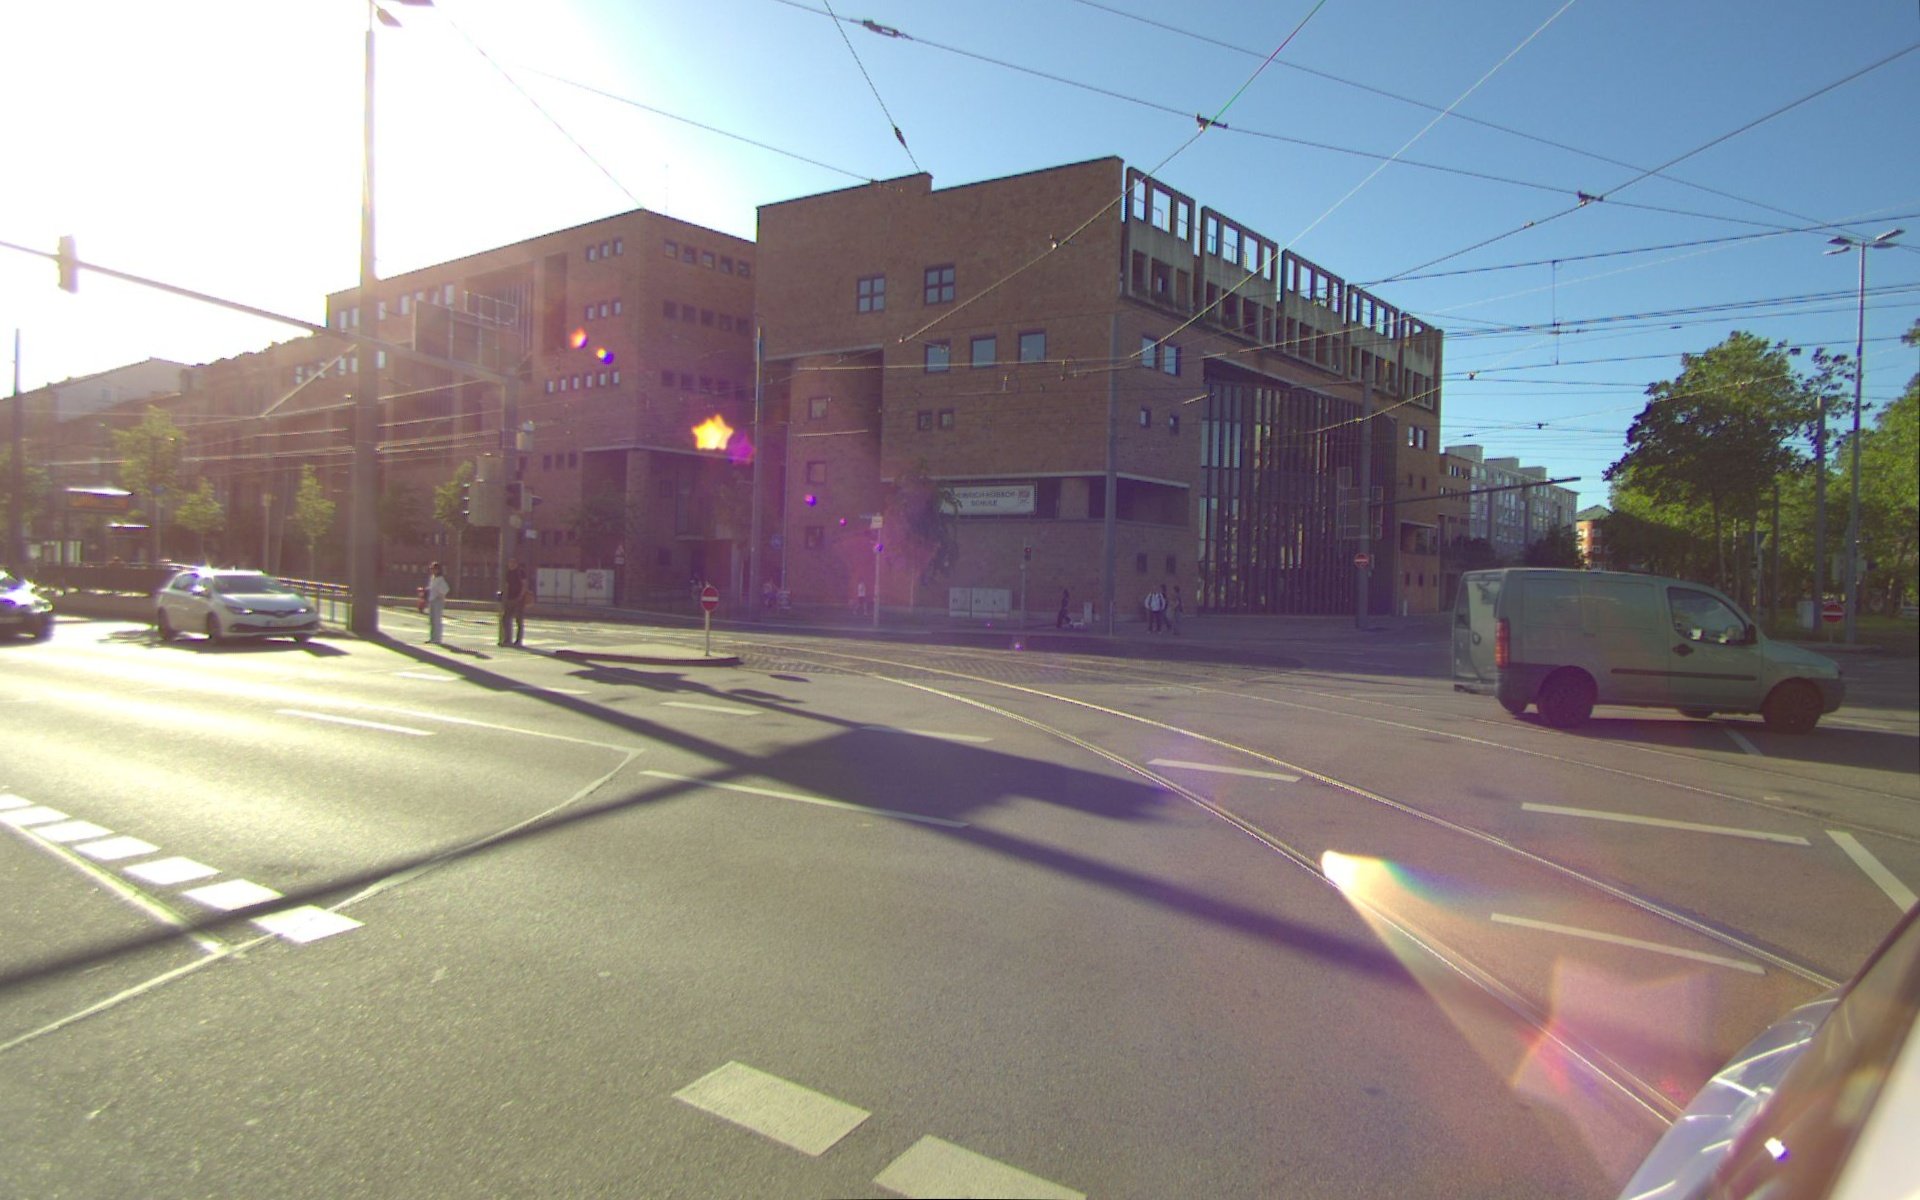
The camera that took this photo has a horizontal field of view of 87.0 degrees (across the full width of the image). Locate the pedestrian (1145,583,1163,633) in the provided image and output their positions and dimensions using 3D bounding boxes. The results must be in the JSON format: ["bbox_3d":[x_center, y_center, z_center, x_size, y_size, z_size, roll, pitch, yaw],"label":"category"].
[{"bbox_3d":[7.100,0.282,37.022,0.543,1.808,0.568,0,0,25],"label":"pedestrian"}]

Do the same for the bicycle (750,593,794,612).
[{"bbox_3d":[-9.123,0.109,49.100,2.330,0.916,0.642,0,0,35],"label":"bicycle"}]

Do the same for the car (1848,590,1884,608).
[{"bbox_3d":[97.047,-0.103,108.434,1.807,1.792,4.272,1,-1,28],"label":"car"}]

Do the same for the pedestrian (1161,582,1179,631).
[{"bbox_3d":[7.846,0.224,37.766,0.543,1.808,0.568,0,0,25],"label":"pedestrian"}]

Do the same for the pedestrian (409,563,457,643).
[{"bbox_3d":[-10.734,0.056,20.614,0.638,1.597,0.578,0,0,19],"label":"pedestrian"}]

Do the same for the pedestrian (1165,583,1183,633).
[{"bbox_3d":[7.758,0.273,36.682,0.543,1.808,0.568,0,0,25],"label":"pedestrian"}]

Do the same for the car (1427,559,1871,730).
[{"bbox_3d":[8.071,0.465,12.158,4.030,1.858,1.845,-1,1,1],"label":"car"}]

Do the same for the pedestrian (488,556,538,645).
[{"bbox_3d":[-8.925,0.005,20.204,0.590,1.749,0.714,0,0,34],"label":"pedestrian"}]

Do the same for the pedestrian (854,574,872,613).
[{"bbox_3d":[-4.561,-0.311,47.594,0.570,1.808,0.542,3,2,36],"label":"pedestrian"}]

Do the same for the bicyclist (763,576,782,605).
[{"bbox_3d":[-9.071,-0.455,49.066,0.648,1.356,0.640,0,0,34],"label":"bicyclist"}]

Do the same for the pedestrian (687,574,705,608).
[{"bbox_3d":[-13.990,-0.480,53.610,0.684,1.808,0.634,0,0,36],"label":"pedestrian"}]

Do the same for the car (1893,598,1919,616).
[{"bbox_3d":[81.563,0.627,86.623,1.686,1.493,3.939,1,0,30],"label":"car"}]

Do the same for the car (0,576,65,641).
[{"bbox_3d":[-20.809,0.160,21.293,4.196,1.284,1.825,0,2,31],"label":"car"}]

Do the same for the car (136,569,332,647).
[{"bbox_3d":[-15.176,0.121,21.116,4.264,1.466,1.825,0,2,32],"label":"car"}]

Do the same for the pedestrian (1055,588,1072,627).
[{"bbox_3d":[4.091,0.288,39.817,0.565,1.495,0.546,1,0,15],"label":"pedestrian"}]
